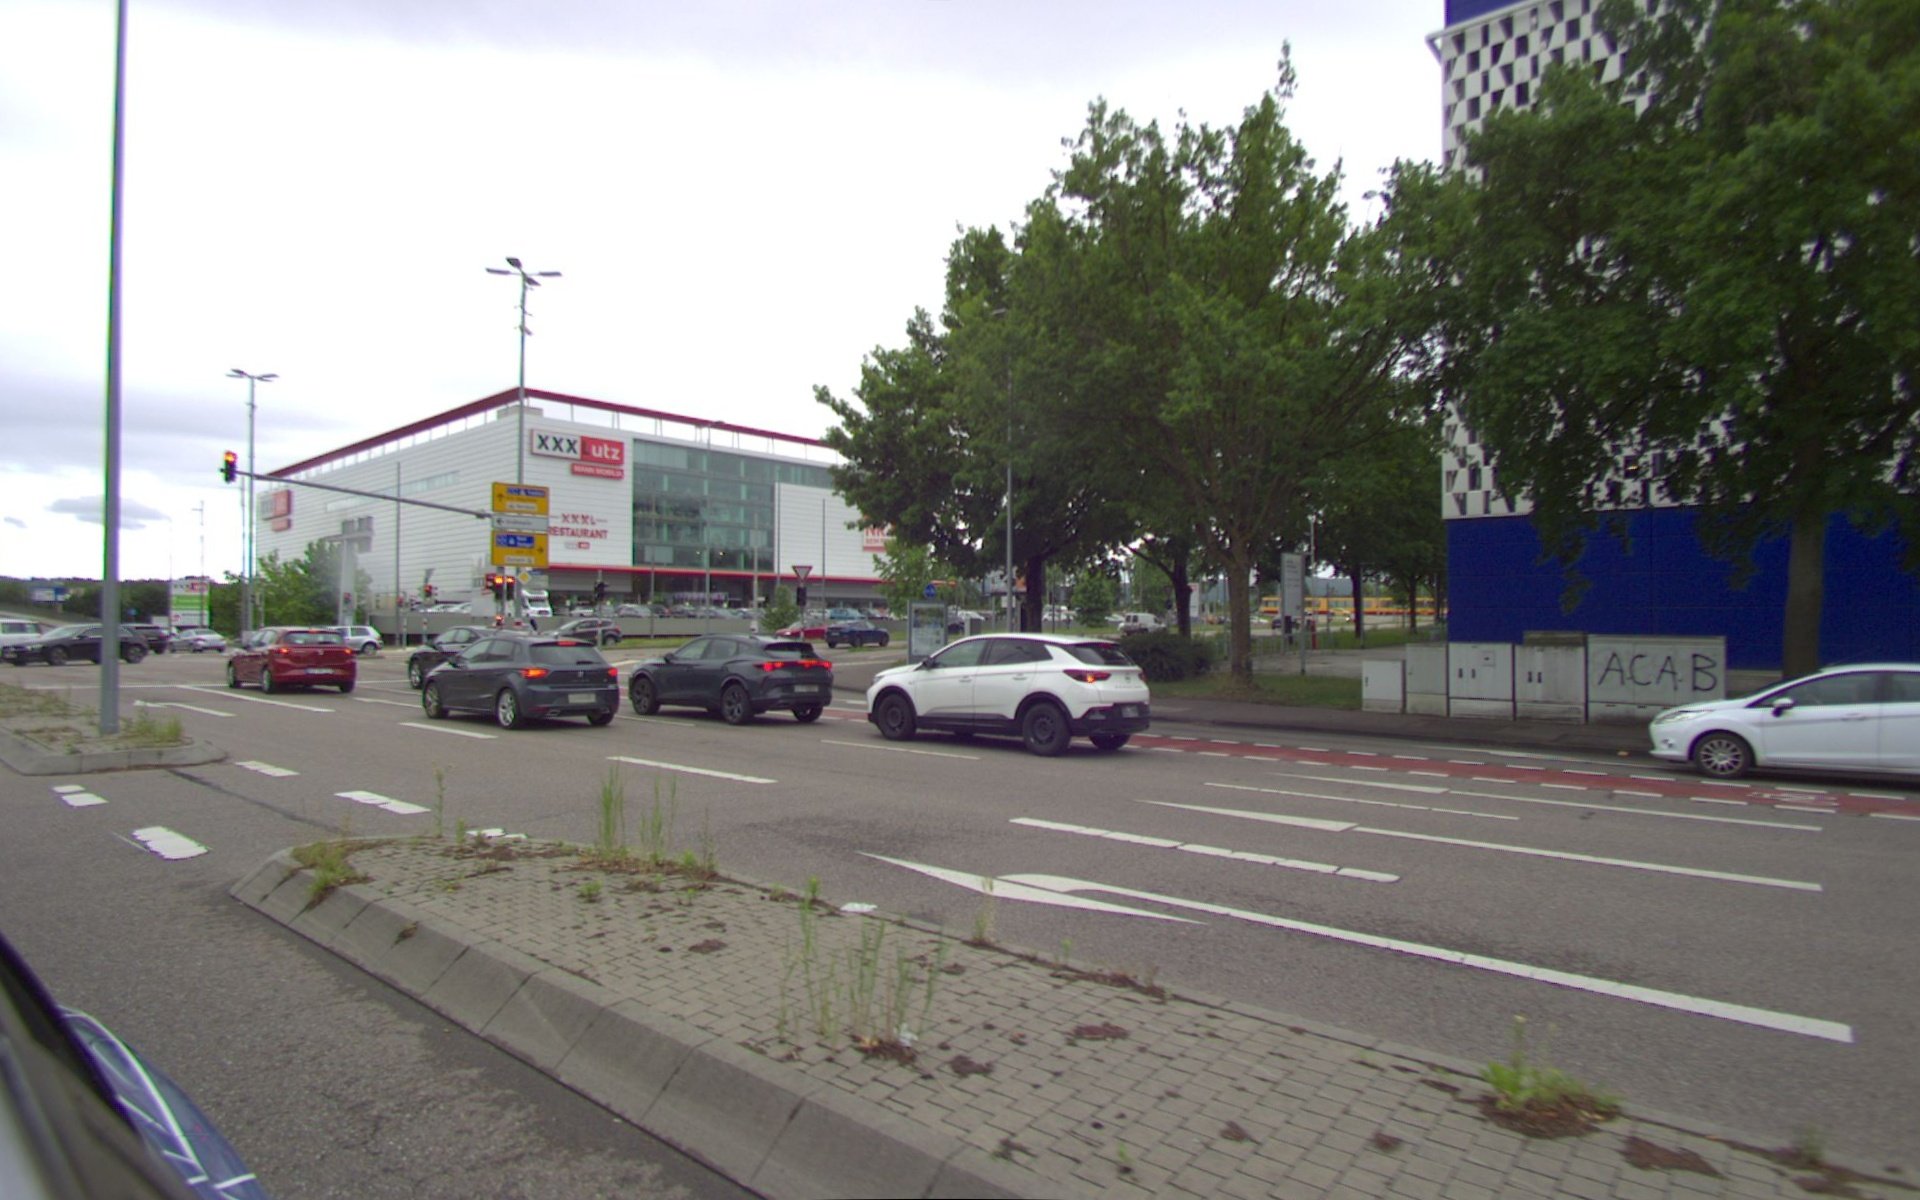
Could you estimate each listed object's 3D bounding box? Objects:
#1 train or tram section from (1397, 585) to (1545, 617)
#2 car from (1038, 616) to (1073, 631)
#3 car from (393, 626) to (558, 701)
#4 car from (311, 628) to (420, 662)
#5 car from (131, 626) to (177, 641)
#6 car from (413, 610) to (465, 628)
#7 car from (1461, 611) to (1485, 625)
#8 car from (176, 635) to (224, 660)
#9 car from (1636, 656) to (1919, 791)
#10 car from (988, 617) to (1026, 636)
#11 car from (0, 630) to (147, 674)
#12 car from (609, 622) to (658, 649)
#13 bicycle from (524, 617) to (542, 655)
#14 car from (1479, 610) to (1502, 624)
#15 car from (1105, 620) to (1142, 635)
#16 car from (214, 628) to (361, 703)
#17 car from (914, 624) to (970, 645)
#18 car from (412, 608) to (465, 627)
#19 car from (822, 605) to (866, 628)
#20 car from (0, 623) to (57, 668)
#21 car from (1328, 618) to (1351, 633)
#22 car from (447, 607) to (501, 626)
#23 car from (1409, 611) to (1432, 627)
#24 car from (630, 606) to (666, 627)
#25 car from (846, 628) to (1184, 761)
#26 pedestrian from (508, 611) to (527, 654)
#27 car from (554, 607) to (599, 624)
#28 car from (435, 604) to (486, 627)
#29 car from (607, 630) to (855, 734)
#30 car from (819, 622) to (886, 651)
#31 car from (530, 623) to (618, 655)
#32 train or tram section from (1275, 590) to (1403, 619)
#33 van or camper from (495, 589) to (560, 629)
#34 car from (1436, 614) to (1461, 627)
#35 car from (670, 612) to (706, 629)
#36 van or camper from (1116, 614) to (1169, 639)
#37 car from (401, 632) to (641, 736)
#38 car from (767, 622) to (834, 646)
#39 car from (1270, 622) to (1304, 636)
[{"bbox_3d":[90.386,0.274,179.923,23.269,4.875,3.584,-2,-2,40],"label":"train or tram section"},{"bbox_3d":[11.583,2.853,123.201,4.001,1.577,1.771,-4,-3,44],"label":"car"},{"bbox_3d":[-11.879,1.509,24.707,4.328,1.650,1.862,-1,-4,39],"label":"car"},{"bbox_3d":[-28.349,2.152,48.331,1.803,1.426,4.159,-4,-2,43],"label":"car"},{"bbox_3d":[-95.025,3.951,119.340,4.133,1.622,1.724,0,-3,-43],"label":"car"},{"bbox_3d":[-51.879,1.877,100.782,1.777,1.688,4.199,-4,-2,43],"label":"car"},{"bbox_3d":[71.699,2.458,141.307,3.866,1.901,1.850,1,-1,-44],"label":"car"},{"bbox_3d":[-46.568,2.902,61.974,3.926,1.382,1.671,-4,-2,43],"label":"car"},{"bbox_3d":[10.825,1.424,12.178,4.326,1.473,1.839,-2,-4,39],"label":"car"},{"bbox_3d":[5.366,3.068,115.803,4.000,2.029,1.972,-4,-3,43],"label":"car"},{"bbox_3d":[-31.174,1.787,35.279,1.751,1.389,4.240,-3,-2,13],"label":"car"},{"bbox_3d":[-25.861,2.809,80.061,3.999,2.029,1.972,-4,-3,42],"label":"car"},{"bbox_3d":[-16.626,1.385,39.395,0.587,1.407,1.940,2,-1,-23],"label":"bicycle"},{"bbox_3d":[76.328,2.485,145.627,3.866,1.901,1.850,1,-3,-44],"label":"car"},{"bbox_3d":[17.252,2.901,106.947,1.803,1.426,4.159,-4,-2,43],"label":"car"},{"bbox_3d":[-15.670,1.460,23.521,4.075,1.499,1.717,0,-2,40],"label":"car"},{"bbox_3d":[-1.357,2.593,76.163,1.803,1.426,4.159,-4,-2,43],"label":"car"},{"bbox_3d":[-50.457,1.665,97.982,1.777,1.688,4.199,-4,-2,43],"label":"car"},{"bbox_3d":[-11.200,1.620,97.446,3.998,2.029,1.972,-4,-2,41],"label":"car"},{"bbox_3d":[-35.420,1.667,36.303,1.781,1.637,4.357,-3,-2,12],"label":"car"},{"bbox_3d":[57.415,3.907,153.021,1.999,2.260,3.946,-1,-2,40],"label":"car"},{"bbox_3d":[-45.204,1.542,94.154,1.777,1.688,4.199,-4,-2,43],"label":"car"},{"bbox_3d":[66.745,2.711,146.542,1.999,2.236,3.946,-1,-2,40],"label":"car"},{"bbox_3d":[-33.824,1.808,109.697,3.998,2.029,1.972,-4,-2,41],"label":"car"},{"bbox_3d":[0.683,1.292,14.536,4.573,1.607,1.973,-2,-6,40],"label":"car"},{"bbox_3d":[-17.160,1.242,39.255,0.630,1.639,0.694,1,-1,-24],"label":"pedestrian"},{"bbox_3d":[-41.134,1.704,108.558,1.777,1.688,4.199,-4,-2,43],"label":"car"},{"bbox_3d":[-47.763,1.448,96.838,2.001,2.029,3.942,-4,-3,44],"label":"car"},{"bbox_3d":[-4.196,1.379,18.170,4.593,1.556,1.862,0,-3,39],"label":"car"},{"bbox_3d":[-5.819,1.983,55.299,1.693,1.498,4.081,0,-2,26],"label":"car"},{"bbox_3d":[-21.317,2.152,55.947,1.803,1.586,4.159,-4,-2,43],"label":"car"},{"bbox_3d":[72.646,0.984,195.131,23.269,4.875,3.584,-2,-2,40],"label":"train or tram section"},{"bbox_3d":[-38.314,0.855,89.528,7.237,3.159,2.676,-4,-3,44],"label":"van or camper"},{"bbox_3d":[63.942,2.653,132.479,1.847,1.668,4.302,1,1,41],"label":"car"},{"bbox_3d":[-30.422,2.314,113.026,3.998,1.752,1.973,-4,-2,41],"label":"car"},{"bbox_3d":[14.022,2.027,77.635,2.000,1.735,4.332,-4,-2,43],"label":"van or camper"},{"bbox_3d":[-7.243,1.299,16.528,4.328,1.473,1.838,-2,-4,40],"label":"car"},{"bbox_3d":[-10.563,2.233,67.298,1.803,1.426,4.159,-4,-2,43],"label":"car"},{"bbox_3d":[32.682,2.904,101.068,1.728,1.382,3.942,-1,-2,44],"label":"car"}]
